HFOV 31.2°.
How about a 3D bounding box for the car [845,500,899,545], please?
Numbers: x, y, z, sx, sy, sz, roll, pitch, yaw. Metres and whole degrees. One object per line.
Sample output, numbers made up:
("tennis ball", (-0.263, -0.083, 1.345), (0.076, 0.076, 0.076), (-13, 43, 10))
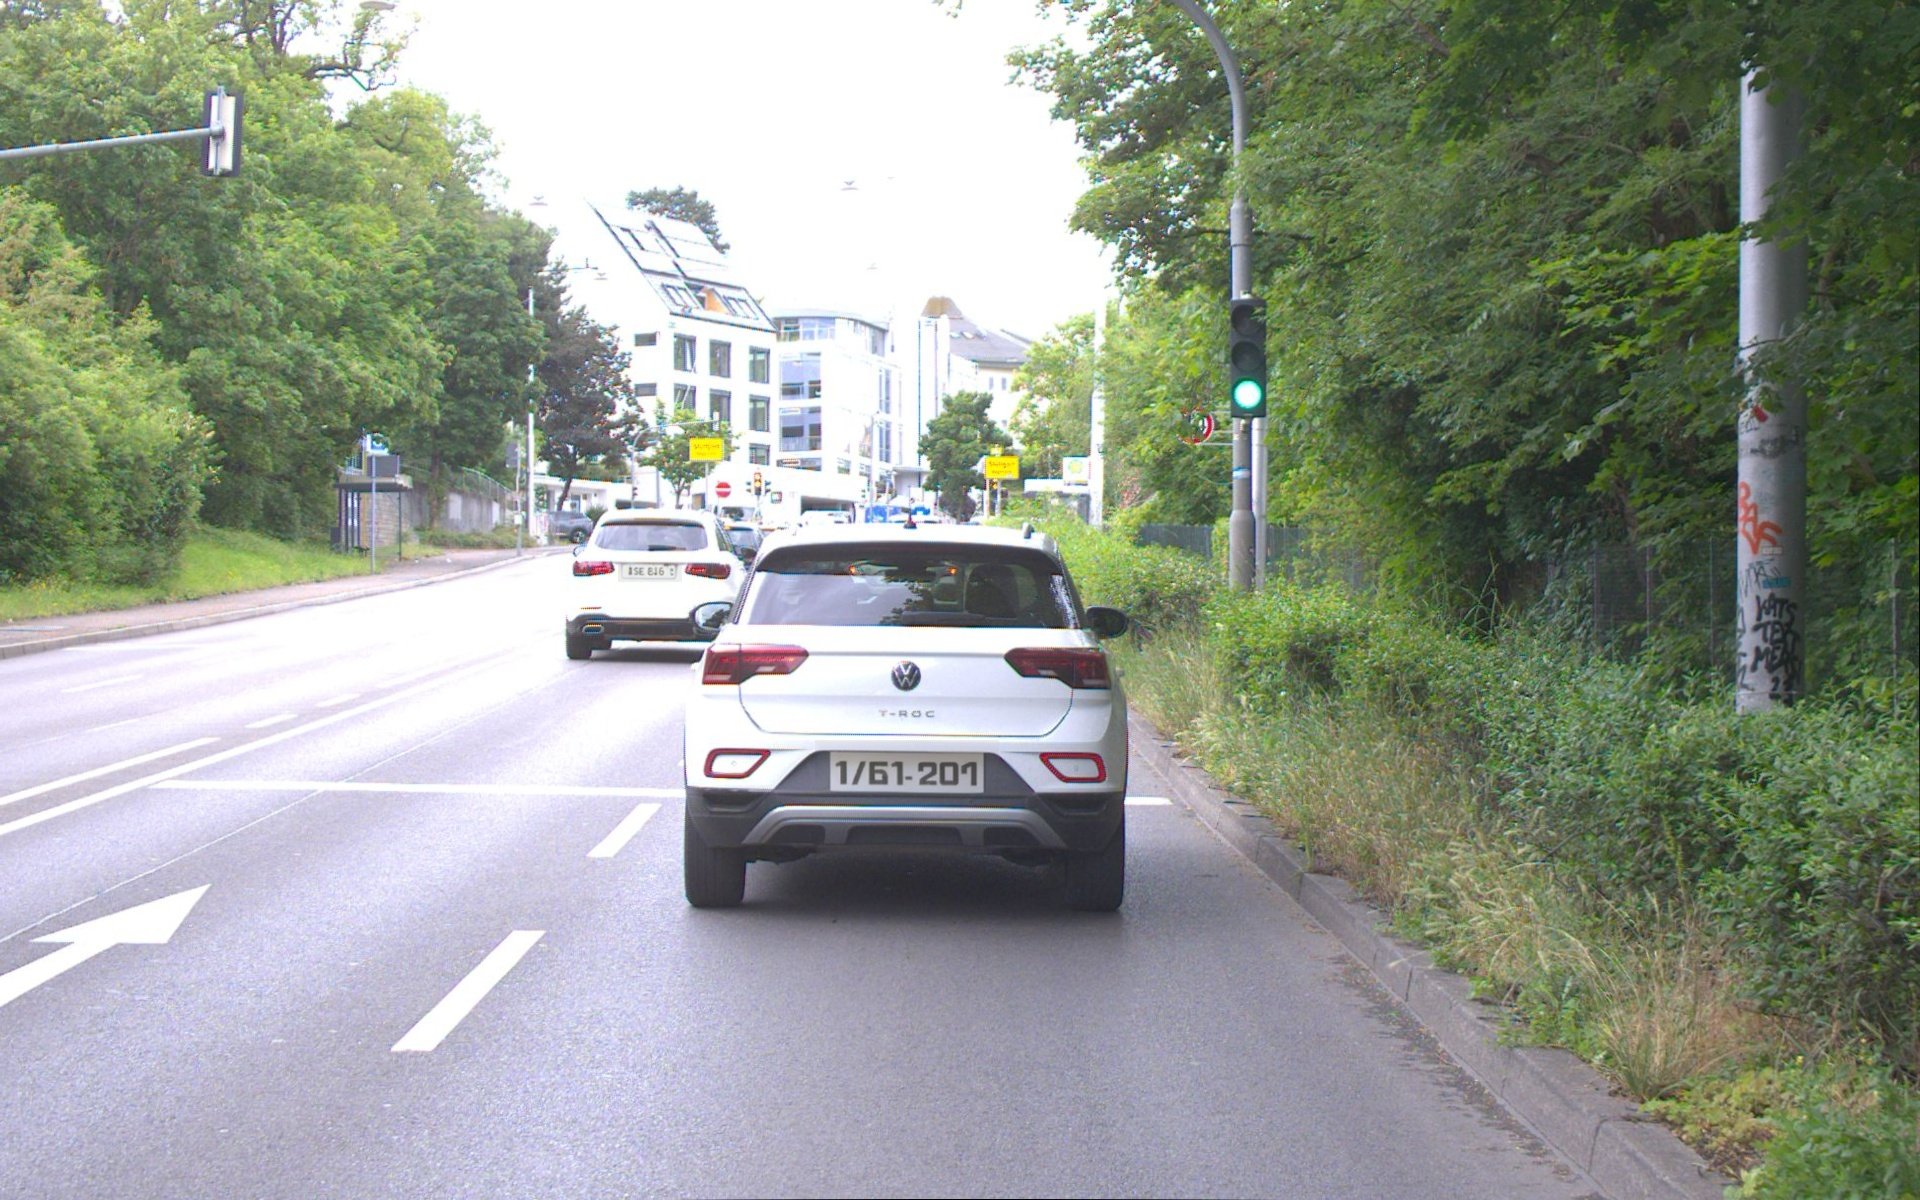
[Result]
("car", (-3.057, -2.726, 120.469), (1.829, 1.520, 4.000), (-1, 1, -1))

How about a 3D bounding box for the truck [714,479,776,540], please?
("truck", (-10.987, -4.595, 176.248), (2.293, 3.040, 6.979), (-1, 1, 3))

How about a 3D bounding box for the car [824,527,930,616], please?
("car", (-1.474, -0.539, 61.672), (1.829, 1.520, 4.000), (-1, 1, -1))

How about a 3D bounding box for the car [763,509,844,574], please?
("car", (-3.761, -1.430, 83.376), (1.829, 1.520, 4.000), (-1, 1, -1))

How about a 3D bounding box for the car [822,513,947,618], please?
("car", (-1.139, -0.549, 52.456), (1.829, 1.520, 4.000), (-1, 1, -1))

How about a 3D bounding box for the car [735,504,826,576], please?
("car", (-3.941, -1.329, 75.936), (1.829, 1.520, 4.000), (-1, 1, -1))

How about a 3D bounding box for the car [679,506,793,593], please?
("car", (-3.986, -0.923, 61.681), (1.829, 1.492, 4.000), (-1, 1, -1))

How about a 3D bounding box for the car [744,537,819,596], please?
("car", (-4.749, -0.913, 91.773), (1.829, 1.520, 4.000), (-1, 1, -1))

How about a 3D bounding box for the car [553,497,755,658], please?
("car", (-3.326, -0.279, 38.055), (1.918, 1.664, 4.000), (-1, 1, -1))

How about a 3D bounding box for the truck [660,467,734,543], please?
("truck", (-9.615, -3.462, 125.866), (2.362, 2.697, 4.478), (-1, 1, -1))

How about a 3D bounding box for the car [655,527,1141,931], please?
("car", (-0.265, 0.444, 14.951), (1.829, 1.520, 4.000), (0, 1, -1))
